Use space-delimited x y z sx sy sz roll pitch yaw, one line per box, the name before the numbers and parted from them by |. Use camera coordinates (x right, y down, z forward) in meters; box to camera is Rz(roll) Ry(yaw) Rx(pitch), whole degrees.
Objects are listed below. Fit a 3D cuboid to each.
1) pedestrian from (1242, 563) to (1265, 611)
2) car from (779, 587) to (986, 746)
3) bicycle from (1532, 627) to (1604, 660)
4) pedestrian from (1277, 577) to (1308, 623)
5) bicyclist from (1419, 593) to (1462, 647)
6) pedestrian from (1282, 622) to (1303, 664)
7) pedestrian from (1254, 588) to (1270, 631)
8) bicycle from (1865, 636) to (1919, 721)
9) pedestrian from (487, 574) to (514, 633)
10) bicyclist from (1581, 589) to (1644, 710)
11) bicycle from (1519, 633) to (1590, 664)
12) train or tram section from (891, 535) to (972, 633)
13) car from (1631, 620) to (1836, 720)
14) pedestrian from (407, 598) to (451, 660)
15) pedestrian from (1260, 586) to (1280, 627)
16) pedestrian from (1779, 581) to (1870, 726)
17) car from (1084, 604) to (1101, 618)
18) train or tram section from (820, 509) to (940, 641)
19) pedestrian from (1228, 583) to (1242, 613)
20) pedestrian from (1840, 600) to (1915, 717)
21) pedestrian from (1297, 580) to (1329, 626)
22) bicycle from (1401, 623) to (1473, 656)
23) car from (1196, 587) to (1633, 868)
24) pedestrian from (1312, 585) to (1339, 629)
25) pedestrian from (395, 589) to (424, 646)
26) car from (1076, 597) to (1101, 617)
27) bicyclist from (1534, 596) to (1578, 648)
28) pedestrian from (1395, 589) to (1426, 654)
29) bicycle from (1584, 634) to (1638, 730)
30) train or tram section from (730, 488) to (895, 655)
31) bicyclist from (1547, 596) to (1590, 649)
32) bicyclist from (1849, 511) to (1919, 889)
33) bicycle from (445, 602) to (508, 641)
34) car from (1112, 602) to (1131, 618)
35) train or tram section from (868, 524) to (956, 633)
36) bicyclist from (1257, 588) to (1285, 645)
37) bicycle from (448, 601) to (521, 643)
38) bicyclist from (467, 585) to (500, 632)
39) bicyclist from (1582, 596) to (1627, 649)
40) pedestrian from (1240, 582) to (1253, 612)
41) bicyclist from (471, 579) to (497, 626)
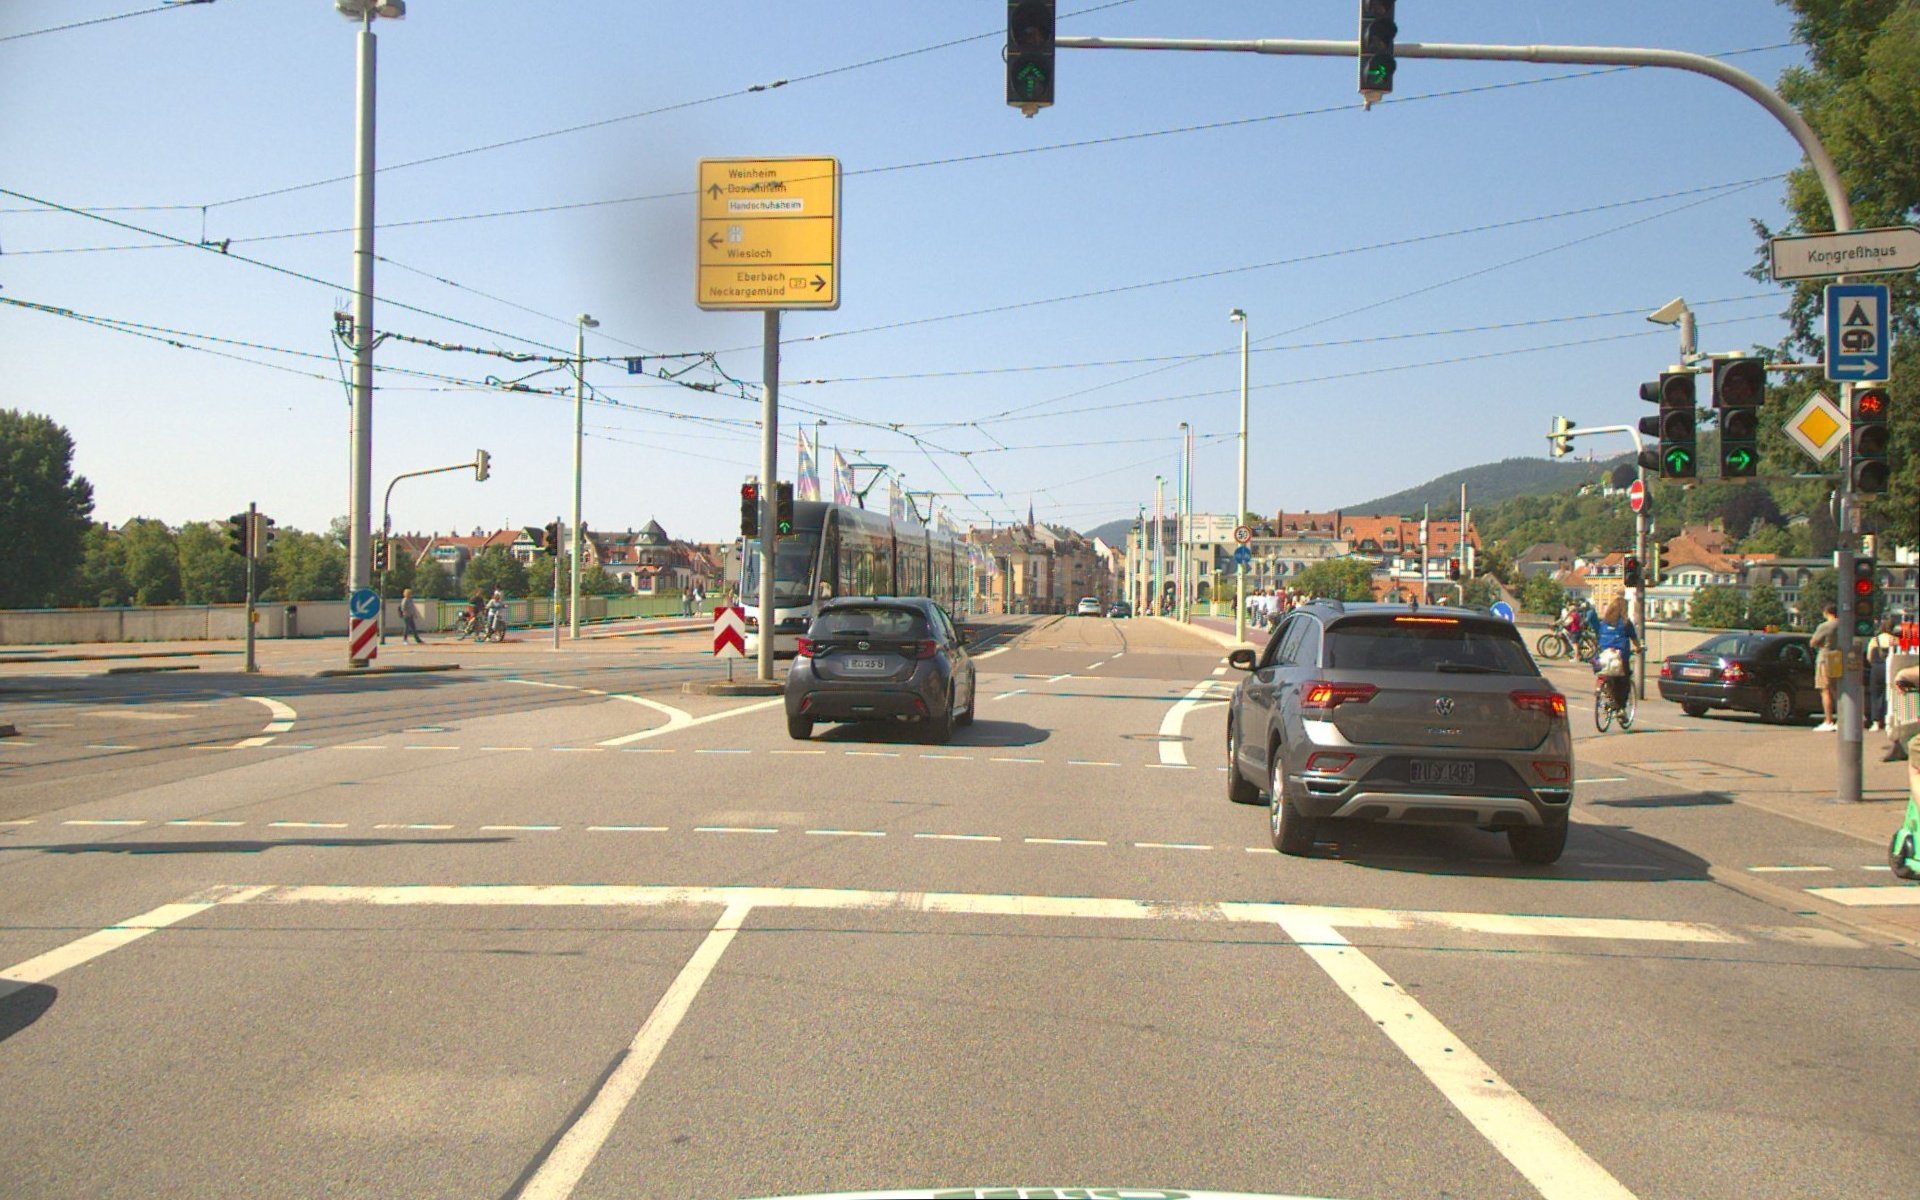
pedestrian | 12.864 -0.567 72.498 0.787 2.049 0.954 1 -1 -1
car | -0.749 0.643 18.499 1.870 1.567 4.002 0 0 4
bicycle | 17.799 1.259 48.424 1.902 0.868 0.564 3 1 28
pedestrian | 12.890 0.005 64.091 0.965 1.781 0.929 1 -1 -1
bicyclist | 13.765 0.571 47.395 1.057 1.499 0.801 2 1 9
pedestrian | 13.347 1.716 66.403 0.641 1.678 0.868 1 -1 -1
pedestrian | 12.852 0.393 70.327 0.538 1.830 0.645 1 -1 -1
bicycle | 14.285 1.198 24.913 0.784 1.227 2.274 -2 -4 21
pedestrian | -16.114 0.118 57.991 0.884 2.049 0.830 0 0 -17
bicyclist | 8.862 0.649 22.455 0.759 1.581 1.059 1 0 23
bicycle | 17.786 1.450 49.523 1.897 0.841 0.566 2 1 9
train or tram section | -1.081 -0.721 70.896 2.418 3.843 11.856 0 1 4
car | 13.263 1.130 28.266 1.967 1.461 3.972 2 2 44
pedestrian | -15.967 0.855 49.702 0.931 1.833 1.142 -1 0 -38
pedestrian | 13.318 0.286 71.072 0.681 1.746 0.731 1 -1 -1
pedestrian | 12.486 0.759 23.917 0.759 2.049 1.059 0 0 0
car | 16.803 1.353 209.243 1.952 1.747 4.001 1 0 2
train or tram section | -2.405 -0.792 52.876 2.483 3.843 9.176 0 1 6
pedestrian | 16.870 -0.126 101.492 0.641 1.774 0.978 1 1 -1
pedestrian | 14.005 0.878 25.259 0.660 1.740 0.893 0 0 1
pedestrian | 14.048 0.114 65.868 0.965 1.800 1.254 0 0 -1
bicycle | 13.655 1.124 47.404 1.897 0.841 0.566 2 1 9
car | 2.876 0.714 11.424 1.890 1.542 3.993 2 0 0
pedestrian | 14.089 0.263 63.791 0.783 1.663 0.949 1 0 -1
pedestrian | -16.945 0.526 50.897 0.822 1.726 1.091 0 0 -21
car | 10.142 0.546 130.629 1.766 1.494 4.001 -1 -1 2
bicyclist | 17.817 0.641 49.472 1.057 1.499 0.929 2 1 11
pedestrian | 13.362 0.633 49.079 0.757 1.888 0.645 1 0 7
bicycle | 8.857 1.077 22.462 0.602 1.185 2.249 1 0 23
train or tram section | -3.608 -0.716 42.924 2.483 3.843 9.176 0 1 6
bicyclist | 17.820 0.655 48.420 1.059 1.499 0.761 2 1 28
bicyclist | 5.658 0.540 9.253 0.922 2.049 0.830 0 0 -1
bicycle | -15.593 0.700 53.388 1.938 1.230 0.636 0 0 -18
car | 15.753 0.957 160.898 1.765 1.494 4.003 -1 -1 7
train or tram section | -1.665 -0.805 61.654 2.353 3.745 9.625 0 1 4
bicyclist | 9.915 0.515 52.722 0.659 1.774 1.150 0 0 0
bicycle | -15.093 0.688 52.539 2.202 1.301 0.736 0 0 -18
bicyclist | -15.144 0.262 52.526 0.987 1.474 0.812 0 0 -17
bicyclist | 18.967 0.664 48.668 1.057 1.499 0.929 2 1 12
pedestrian | 15.286 -0.139 88.190 0.636 1.590 0.692 0 0 5
bicyclist | -15.389 0.075 53.449 0.811 1.519 0.872 0 0 -17
